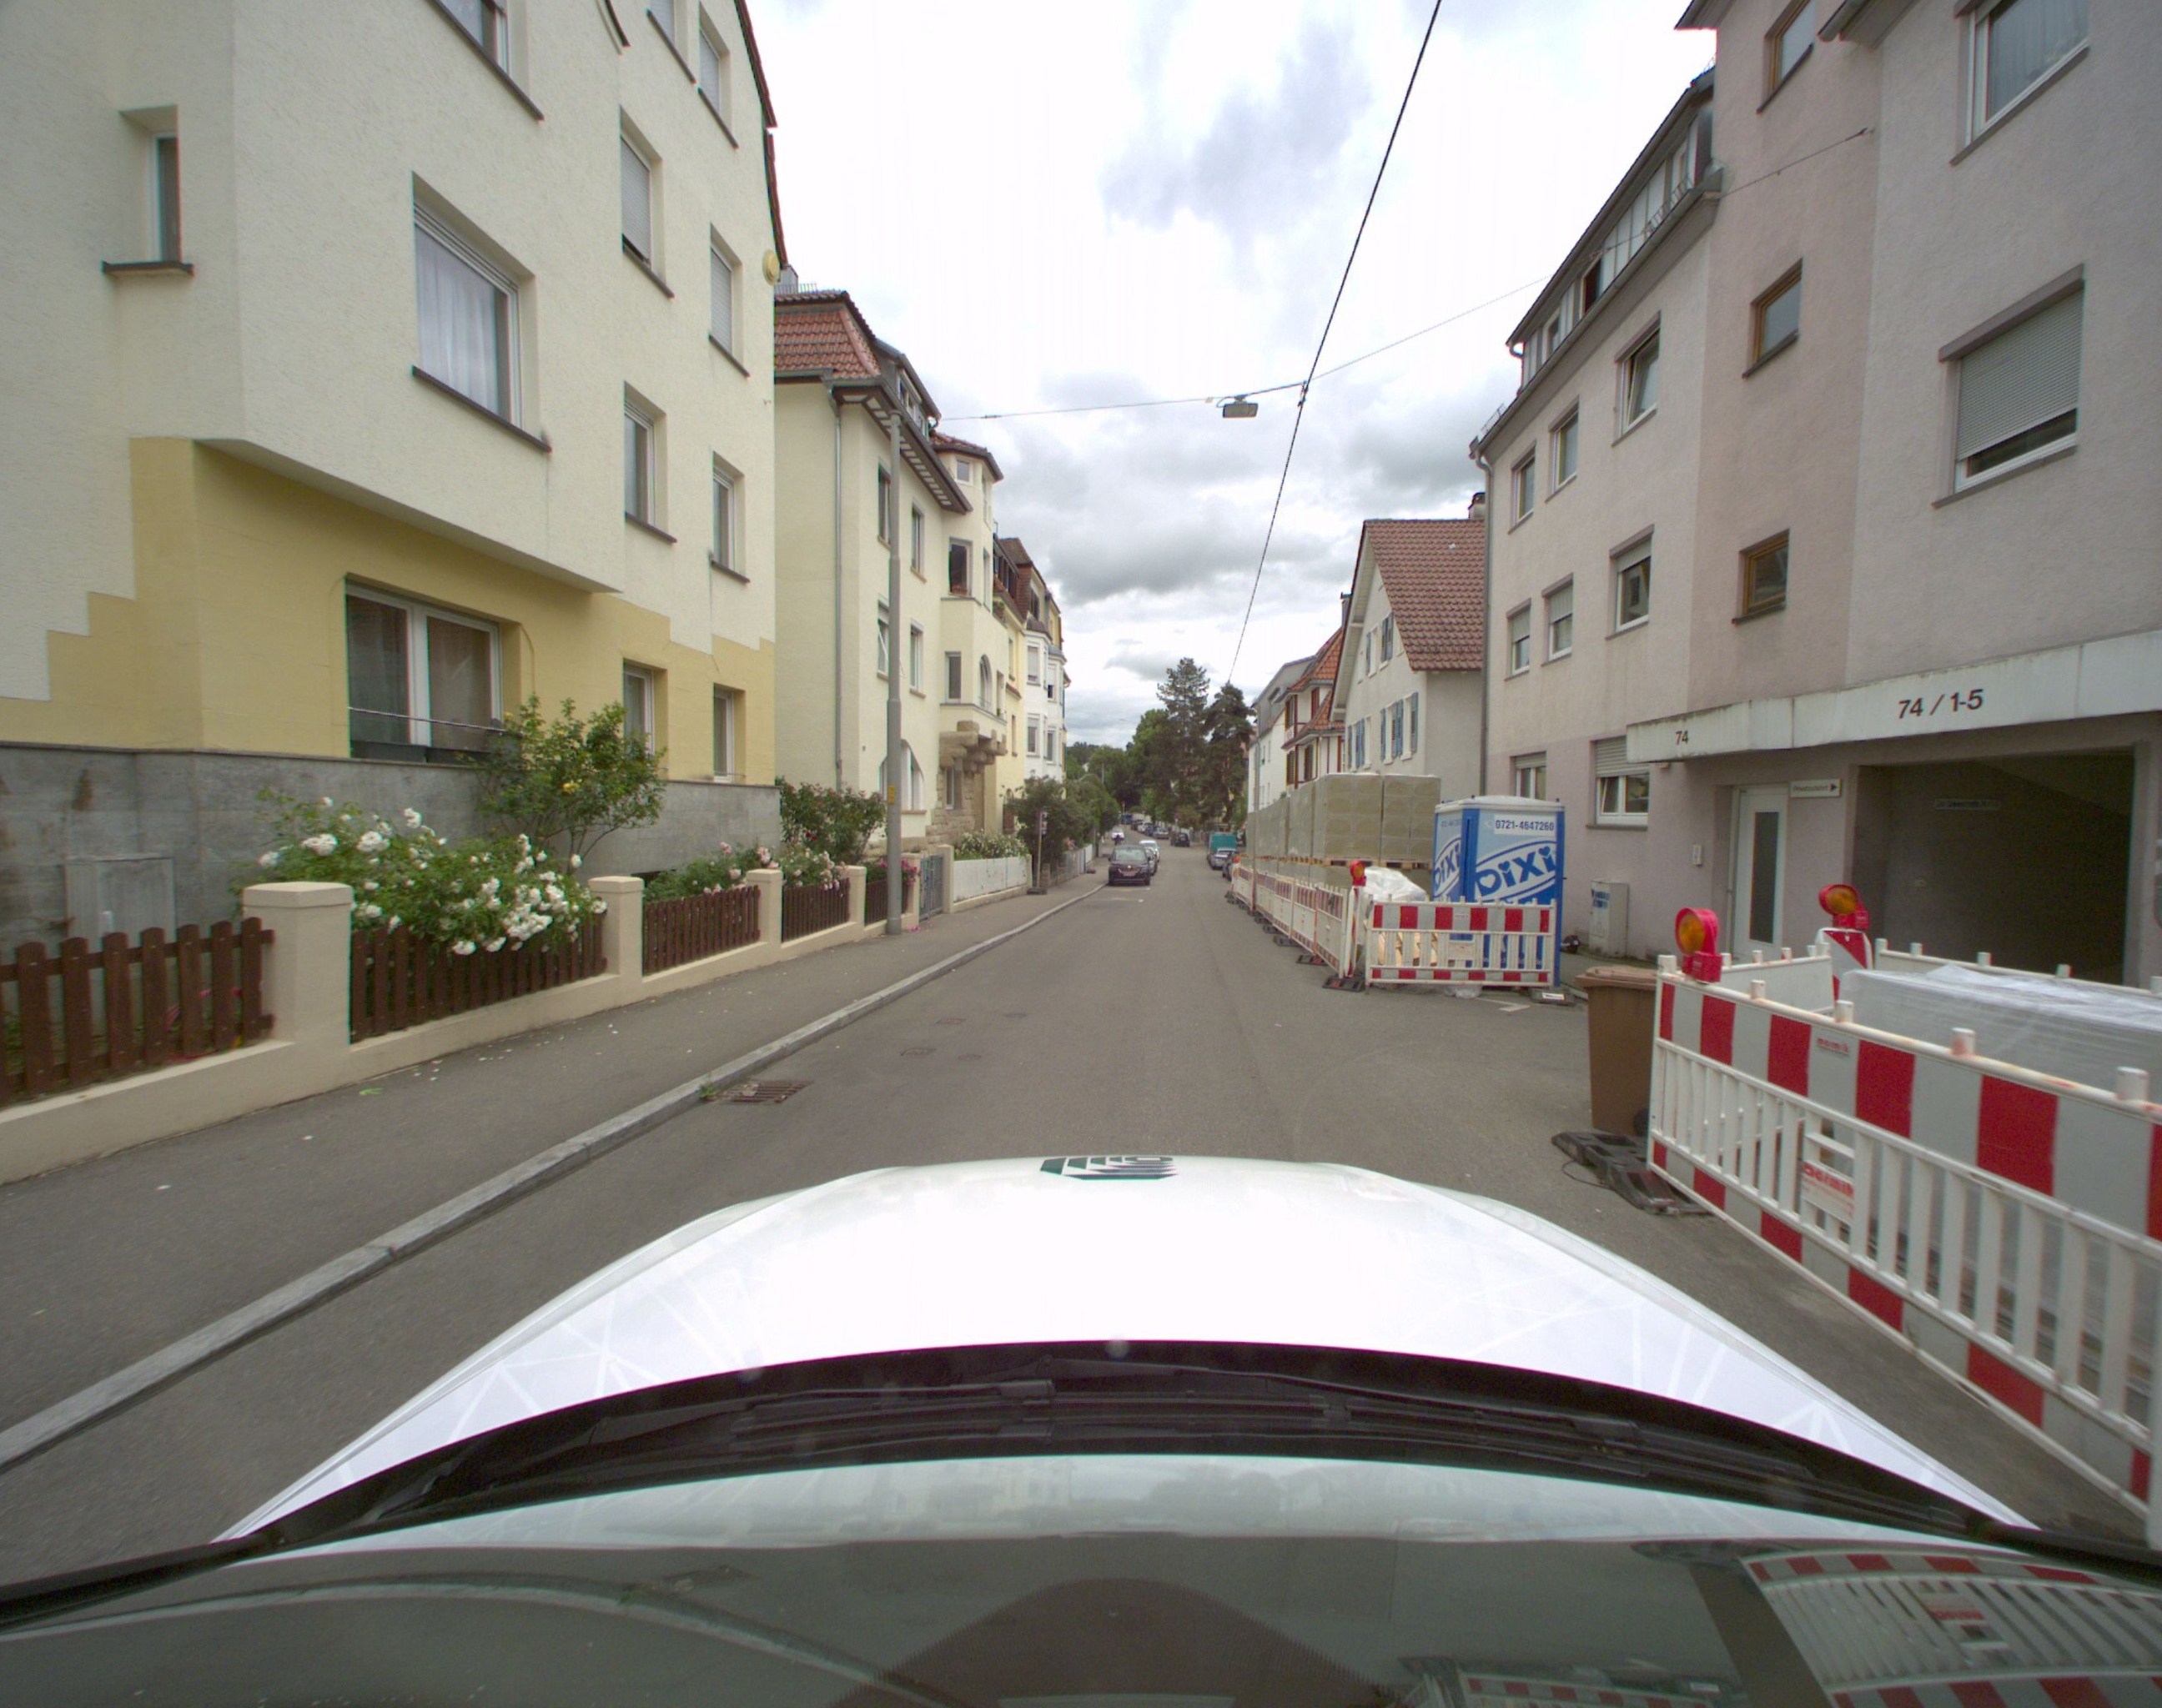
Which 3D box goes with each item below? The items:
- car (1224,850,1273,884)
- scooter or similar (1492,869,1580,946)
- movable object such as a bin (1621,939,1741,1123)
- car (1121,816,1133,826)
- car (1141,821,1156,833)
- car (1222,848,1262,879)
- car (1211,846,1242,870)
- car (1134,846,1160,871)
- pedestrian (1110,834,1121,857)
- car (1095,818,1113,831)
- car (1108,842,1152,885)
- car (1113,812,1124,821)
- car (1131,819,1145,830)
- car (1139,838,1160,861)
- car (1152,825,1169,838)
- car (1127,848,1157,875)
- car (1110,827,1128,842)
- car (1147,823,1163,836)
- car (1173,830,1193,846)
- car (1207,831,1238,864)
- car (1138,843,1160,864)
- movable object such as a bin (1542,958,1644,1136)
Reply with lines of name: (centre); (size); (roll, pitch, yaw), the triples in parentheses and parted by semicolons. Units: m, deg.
car: (7.893, 0.565, 38.735); (1.810, 1.441, 4.458); (2, 1, 5)
scooter or similar: (7.670, 0.864, 13.811); (0.639, 1.156, 1.768); (0, 1, 5)
movable object such as a bin: (3.608, 1.039, 4.913); (0.450, 0.977, 0.399); (-2, 2, -18)
car: (7.617, -5.440, 134.651); (1.630, 1.537, 3.528); (2, 4, -3)
car: (9.505, -3.774, 114.144); (1.630, 1.537, 3.528); (2, 4, -3)
car: (8.492, 0.465, 43.251); (1.681, 1.519, 3.887); (2, 1, 5)
car: (9.698, 0.251, 54.437); (1.716, 1.448, 3.887); (1, 2, 5)
car: (4.226, 0.278, 51.611); (1.588, 1.478, 3.997); (0, 1, 5)
pedestrian: (2.920, -0.748, 69.521); (0.786, 1.932, 0.922); (2, 1, 9)
car: (3.411, -4.391, 120.130); (1.902, 1.876, 4.584); (-1, 4, -8)
car: (2.185, 0.394, 36.527); (1.837, 1.815, 4.549); (0, 0, 3)
car: (6.645, -6.672, 145.064); (1.630, 1.537, 3.528); (2, 4, -3)
car: (8.435, -4.360, 120.028); (1.630, 1.537, 3.528); (2, 4, -3)
car: (5.514, -0.370, 65.348); (1.664, 1.656, 3.870); (0, 4, 5)
car: (10.132, -2.855, 103.456); (1.630, 1.483, 3.528); (2, 4, -3)
car: (3.512, 0.400, 46.570); (1.634, 1.416, 3.990); (0, 1, 5)
car: (4.674, -2.452, 101.325); (1.670, 1.656, 3.856); (-1, 4, -6)
car: (9.767, -3.223, 107.968); (1.630, 1.483, 3.528); (2, 4, -3)
car: (11.429, -1.793, 91.284); (1.629, 1.483, 3.530); (2, 4, -1)
car: (10.527, -0.519, 60.954); (1.970, 2.362, 4.284); (1, 2, 5)
car: (5.123, -0.035, 61.105); (1.588, 1.412, 3.669); (0, 2, 5)
movable object such as a bin: (2.956, 1.085, 4.700); (0.396, 0.892, 0.366); (3, 1, 44)
